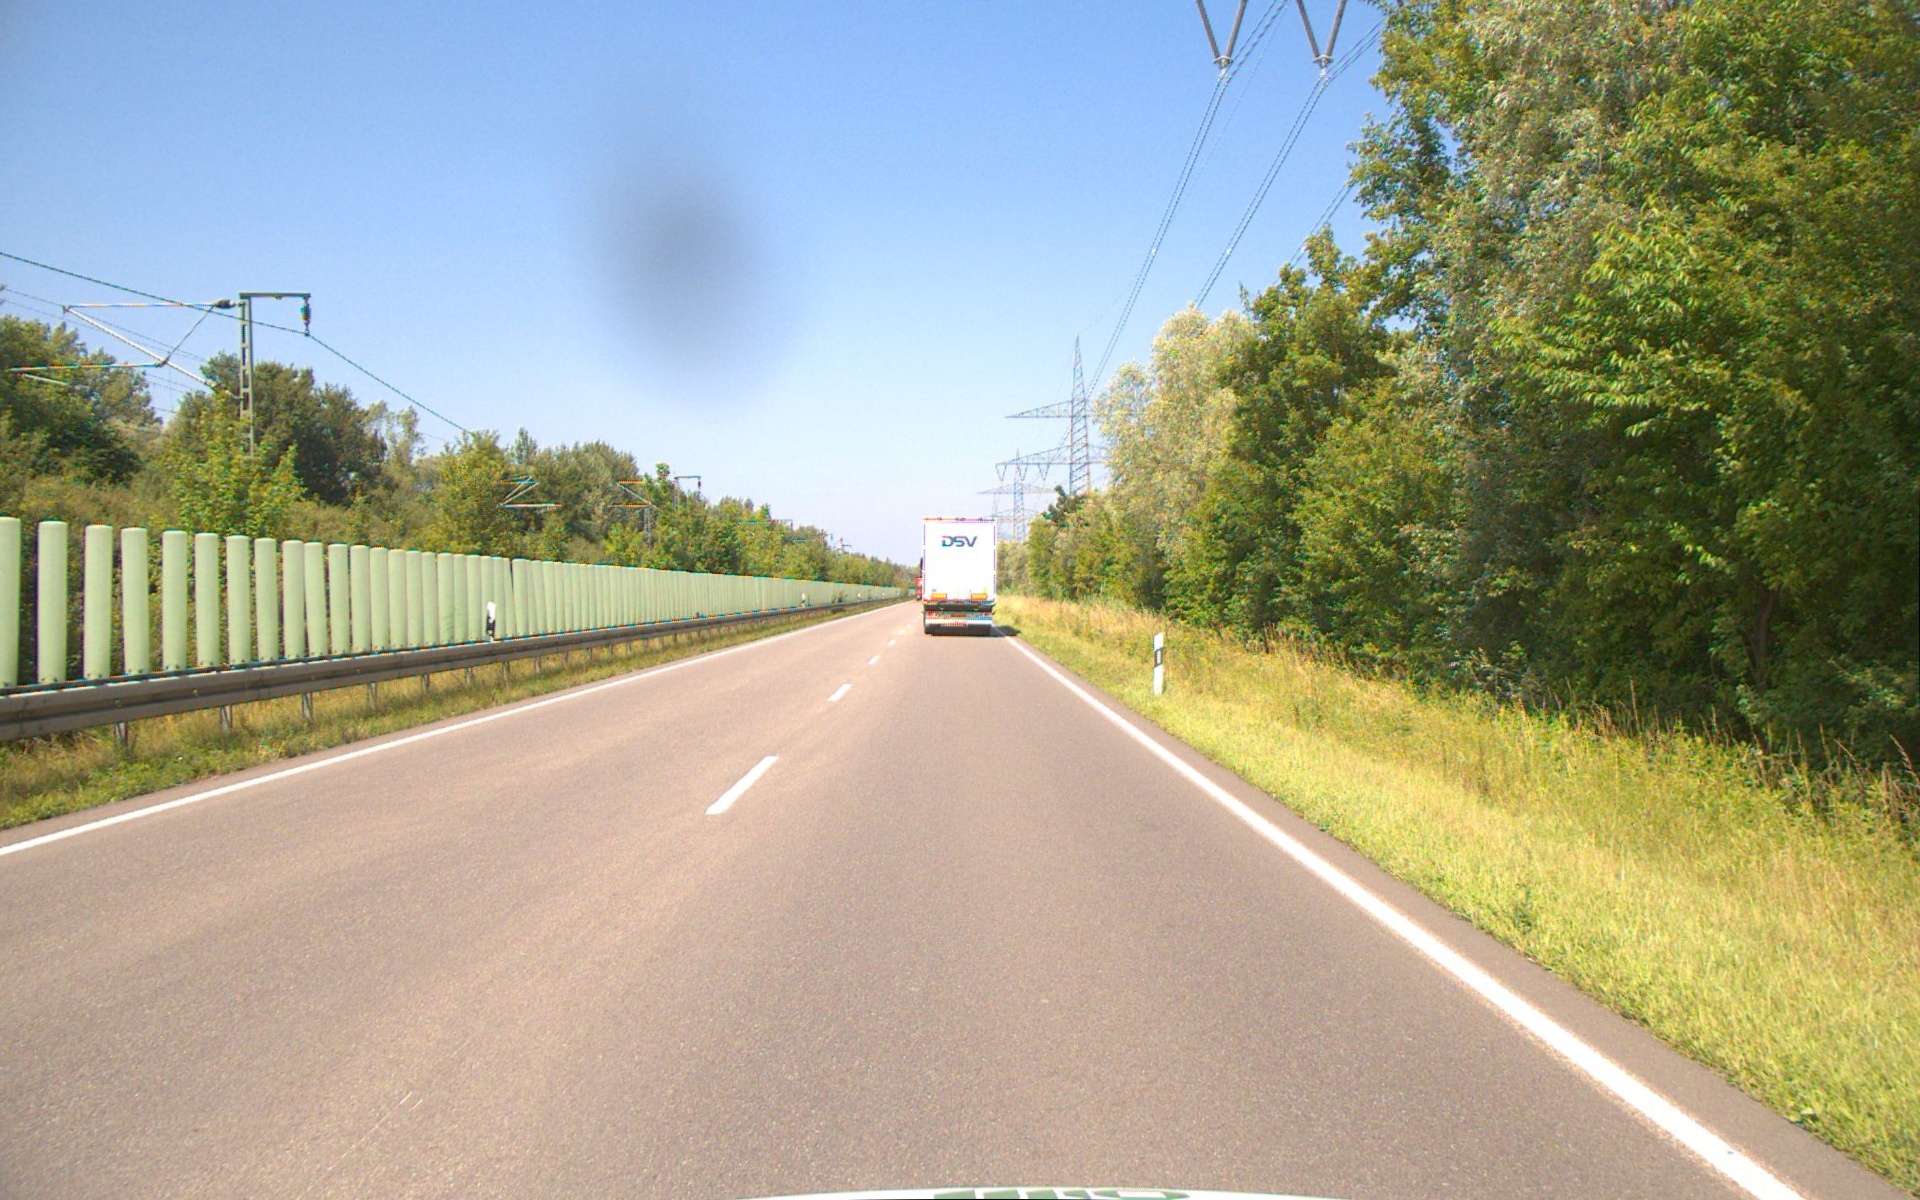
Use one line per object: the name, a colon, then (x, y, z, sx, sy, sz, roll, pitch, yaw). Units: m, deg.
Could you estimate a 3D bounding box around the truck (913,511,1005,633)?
truck: (-0.137, -0.980, 62.004, 3.127, 4.113, 12.004, 0, 0, -1)
